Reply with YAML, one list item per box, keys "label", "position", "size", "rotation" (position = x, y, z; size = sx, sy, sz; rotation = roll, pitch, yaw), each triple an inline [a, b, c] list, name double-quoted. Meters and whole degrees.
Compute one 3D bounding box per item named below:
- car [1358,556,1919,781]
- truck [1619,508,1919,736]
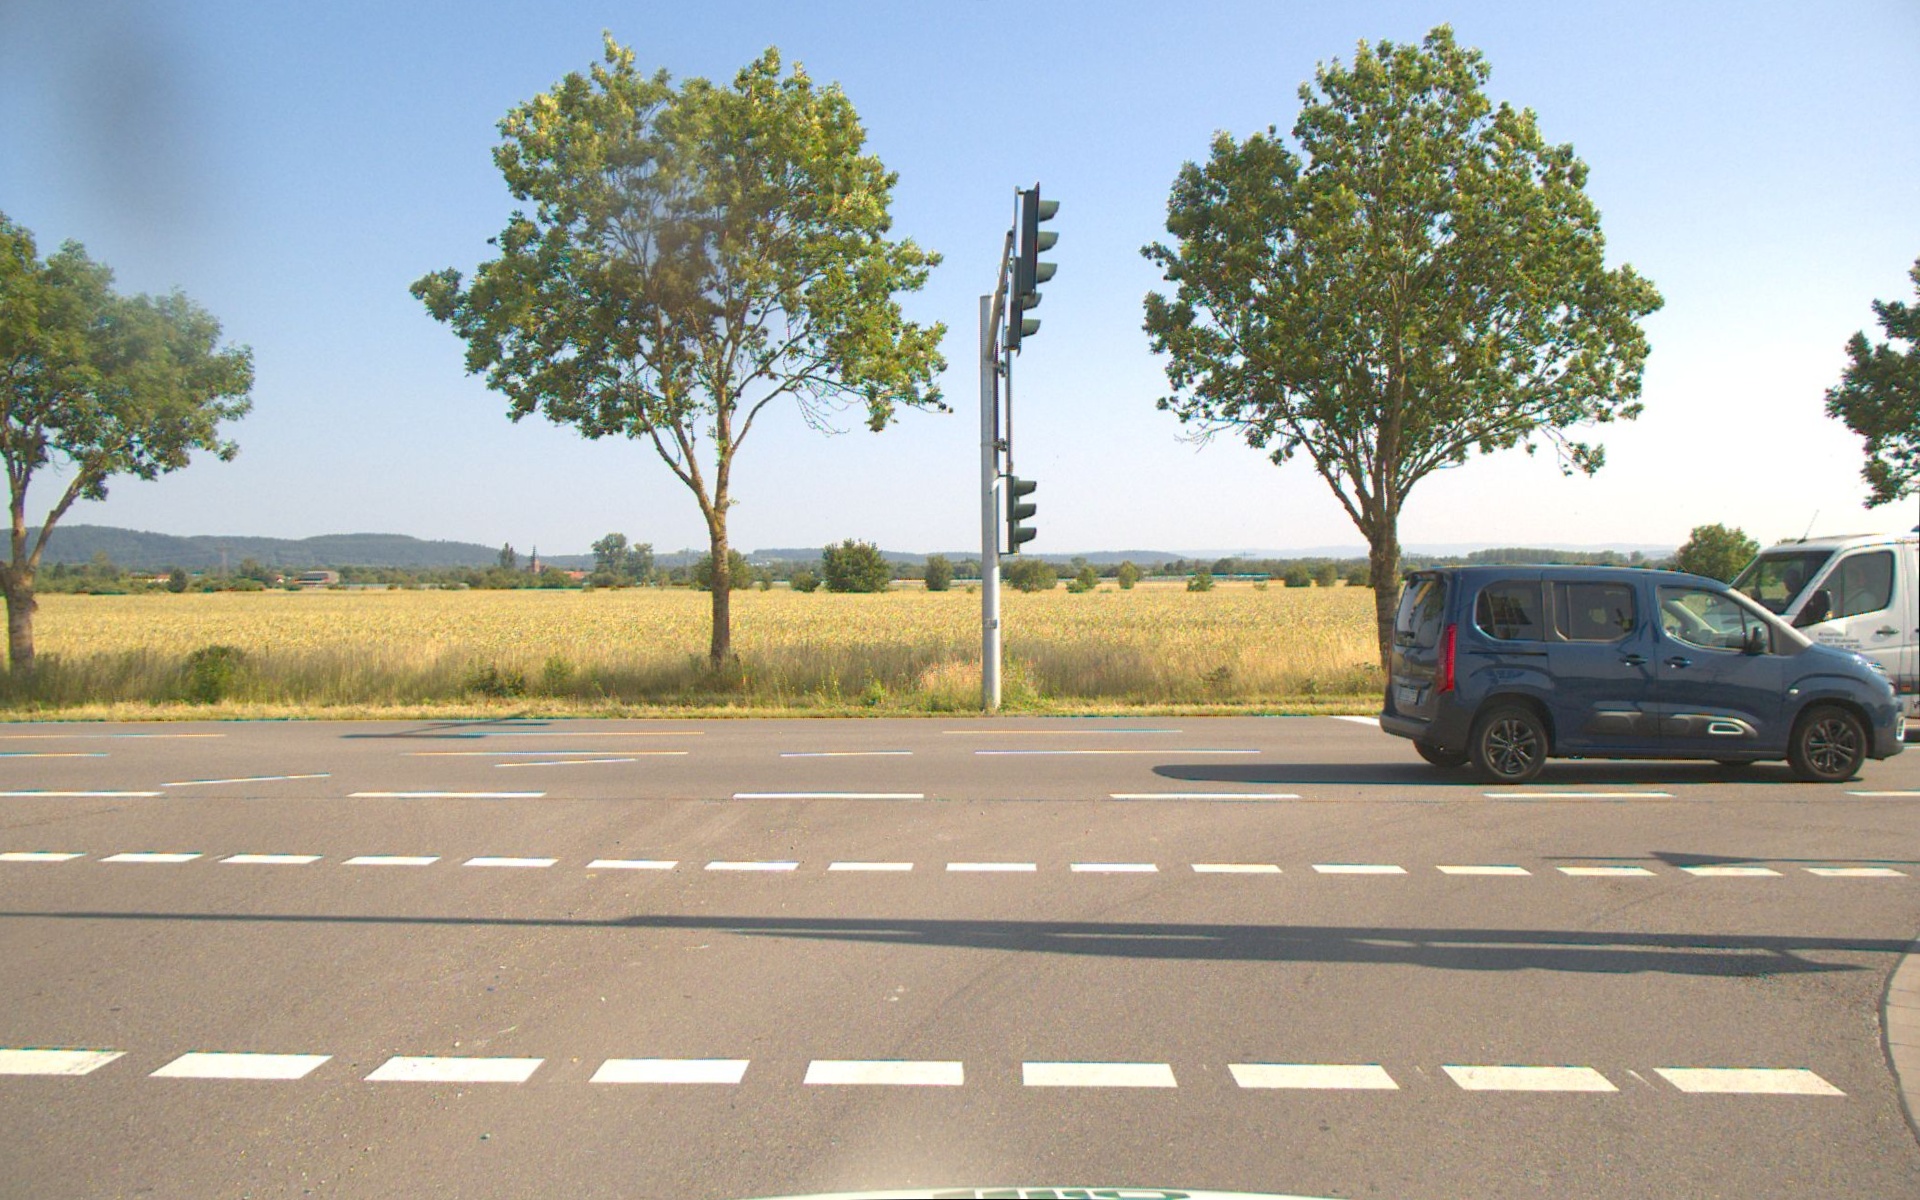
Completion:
- label: "car"
  position: [5.931, 0.573, 14.656]
  size: [4.362, 1.866, 1.845]
  rotation: [0, -1, -1]
- label: "truck"
  position: [10.985, 0.232, 18.961]
  size: [6.053, 2.447, 2.070]
  rotation: [0, -1, -2]
